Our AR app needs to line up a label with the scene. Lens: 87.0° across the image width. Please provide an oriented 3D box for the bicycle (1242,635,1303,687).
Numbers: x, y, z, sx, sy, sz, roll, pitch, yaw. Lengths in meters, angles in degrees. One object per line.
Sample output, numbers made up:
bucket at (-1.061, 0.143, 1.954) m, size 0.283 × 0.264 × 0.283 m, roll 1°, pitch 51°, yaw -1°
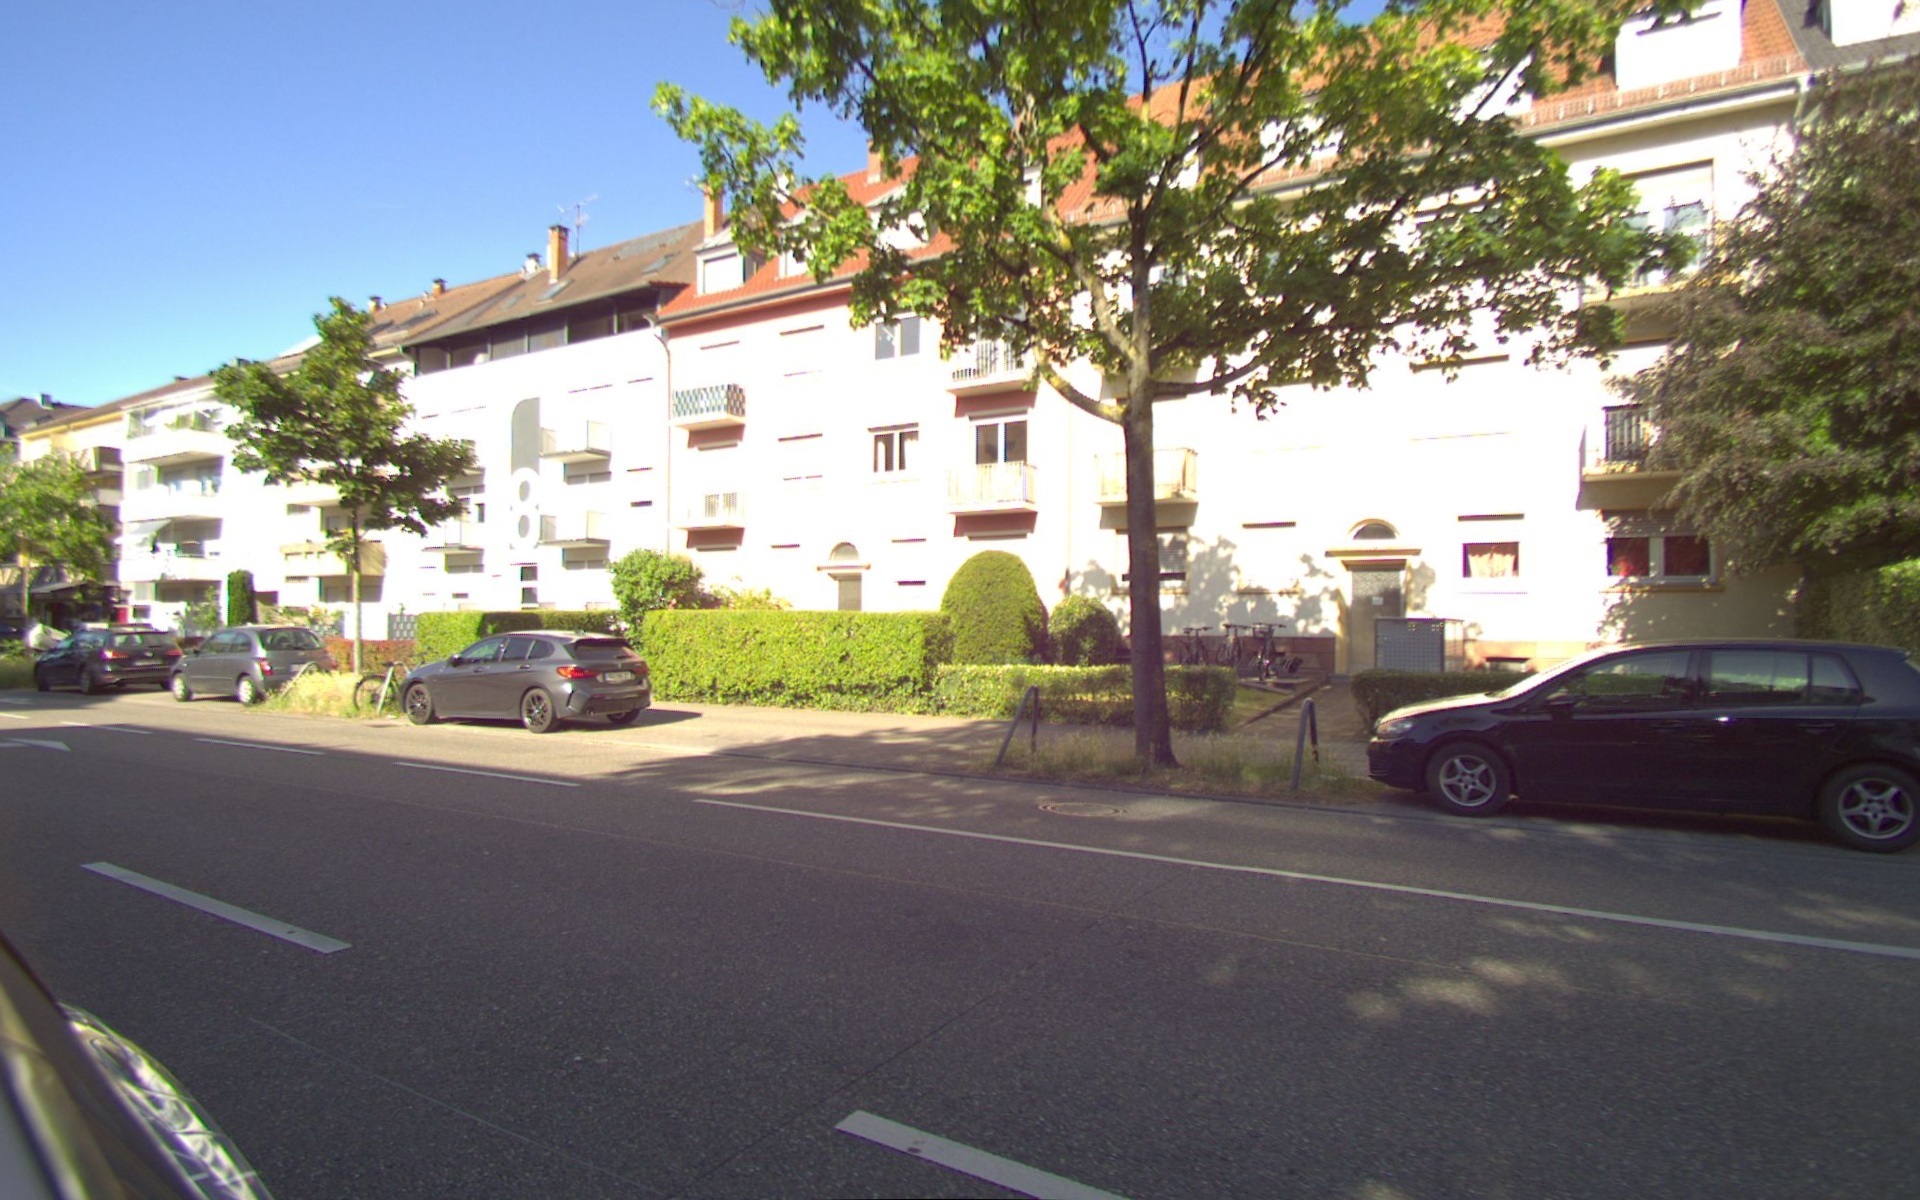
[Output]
bicycle at (6.061, 1.152, 19.532) m, size 0.570 × 0.950 × 2.099 m, roll -1°, pitch -2°, yaw 33°

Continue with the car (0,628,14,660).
car at (-46.850, 2.089, 47.154) m, size 3.938 × 1.467 × 1.735 m, roll 0°, pitch -2°, yaw -41°

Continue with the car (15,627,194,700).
car at (-20.000, 1.436, 23.615) m, size 4.474 × 1.504 × 1.773 m, roll -1°, pitch 0°, yaw 30°

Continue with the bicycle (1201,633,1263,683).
bicycle at (5.401, 1.119, 20.027) m, size 0.570 × 0.936 × 2.099 m, roll -1°, pitch -2°, yaw 33°

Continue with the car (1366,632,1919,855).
car at (5.603, 1.001, 8.183) m, size 4.097 × 1.468 × 1.658 m, roll -1°, pitch -2°, yaw 32°

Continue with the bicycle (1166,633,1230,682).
bicycle at (4.828, 1.144, 20.452) m, size 0.570 × 0.937 × 2.099 m, roll -1°, pitch -2°, yaw 33°

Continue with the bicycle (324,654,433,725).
bicycle at (-9.905, 1.493, 17.286) m, size 0.546 × 1.143 × 1.533 m, roll -1°, pitch -3°, yaw 29°

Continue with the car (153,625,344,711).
car at (-14.312, 1.312, 20.348) m, size 3.640 × 1.537 × 1.665 m, roll -1°, pitch 0°, yaw 27°

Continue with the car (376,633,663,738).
car at (-6.837, 1.239, 15.637) m, size 4.345 × 1.419 × 1.757 m, roll -1°, pitch -2°, yaw 28°

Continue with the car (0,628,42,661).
car at (-44.119, 2.030, 45.547) m, size 1.731 × 1.472 × 3.947 m, roll -2°, pitch -2°, yaw 39°

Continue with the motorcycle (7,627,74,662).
motorcycle at (-41.277, 1.998, 45.453) m, size 0.780 × 1.497 × 2.129 m, roll -2°, pitch -2°, yaw 39°

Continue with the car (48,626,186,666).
car at (-34.401, 1.854, 41.391) m, size 1.873 × 1.498 × 3.959 m, roll -2°, pitch -2°, yaw 30°
